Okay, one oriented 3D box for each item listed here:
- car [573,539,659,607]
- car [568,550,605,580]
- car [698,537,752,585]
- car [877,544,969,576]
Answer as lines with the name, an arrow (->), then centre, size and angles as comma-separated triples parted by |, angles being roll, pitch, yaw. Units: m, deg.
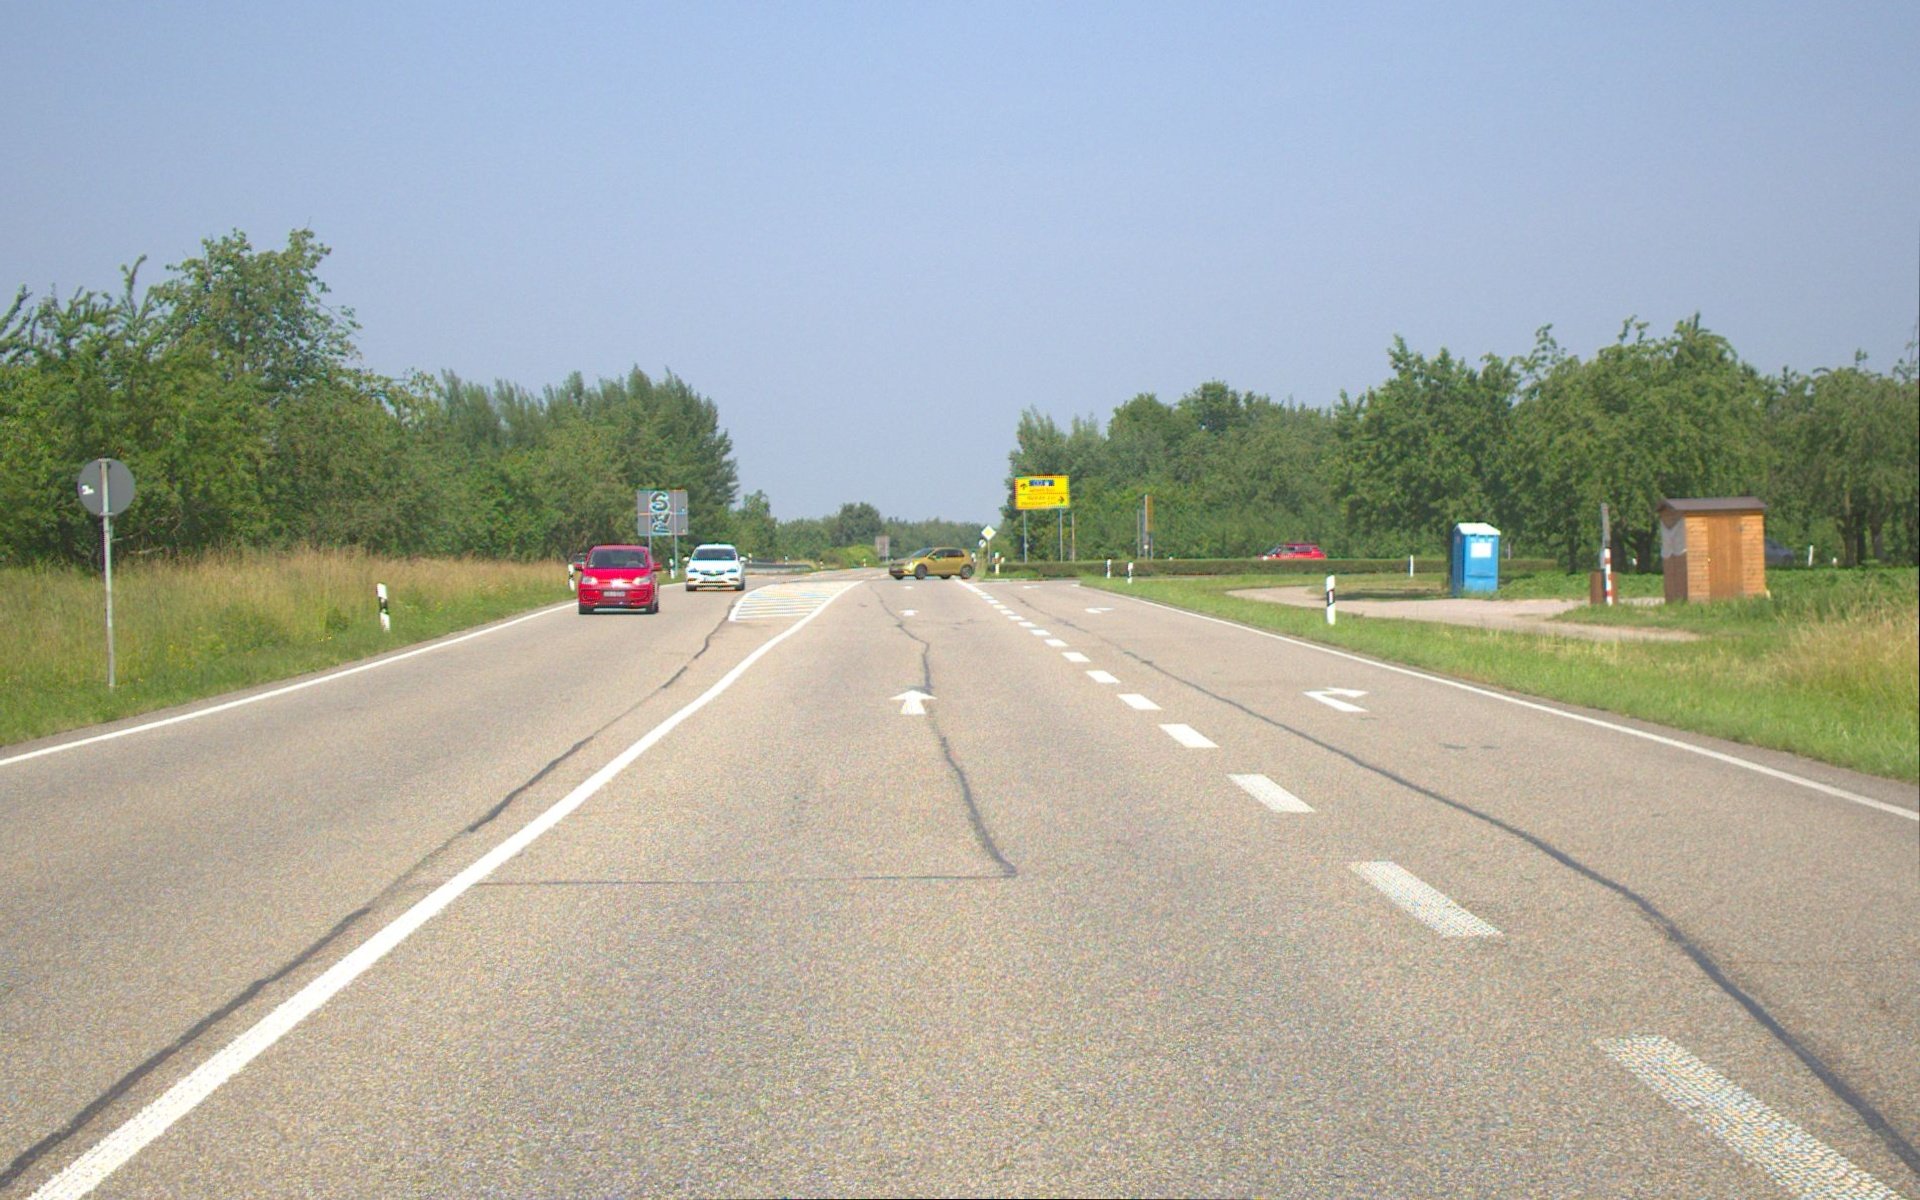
car -> -7.475, -0.604, 74.936 | 1.625, 1.452, 3.622 | 0, 1, -2
car -> -18.361, -1.729, 169.265 | 1.704, 1.418, 4.044 | -1, 1, -5
car -> -7.514, -1.256, 110.175 | 1.674, 1.489, 4.137 | 0, 1, -3
car -> -1.689, -1.813, 157.023 | 3.812, 1.411, 1.703 | -1, 1, -27
